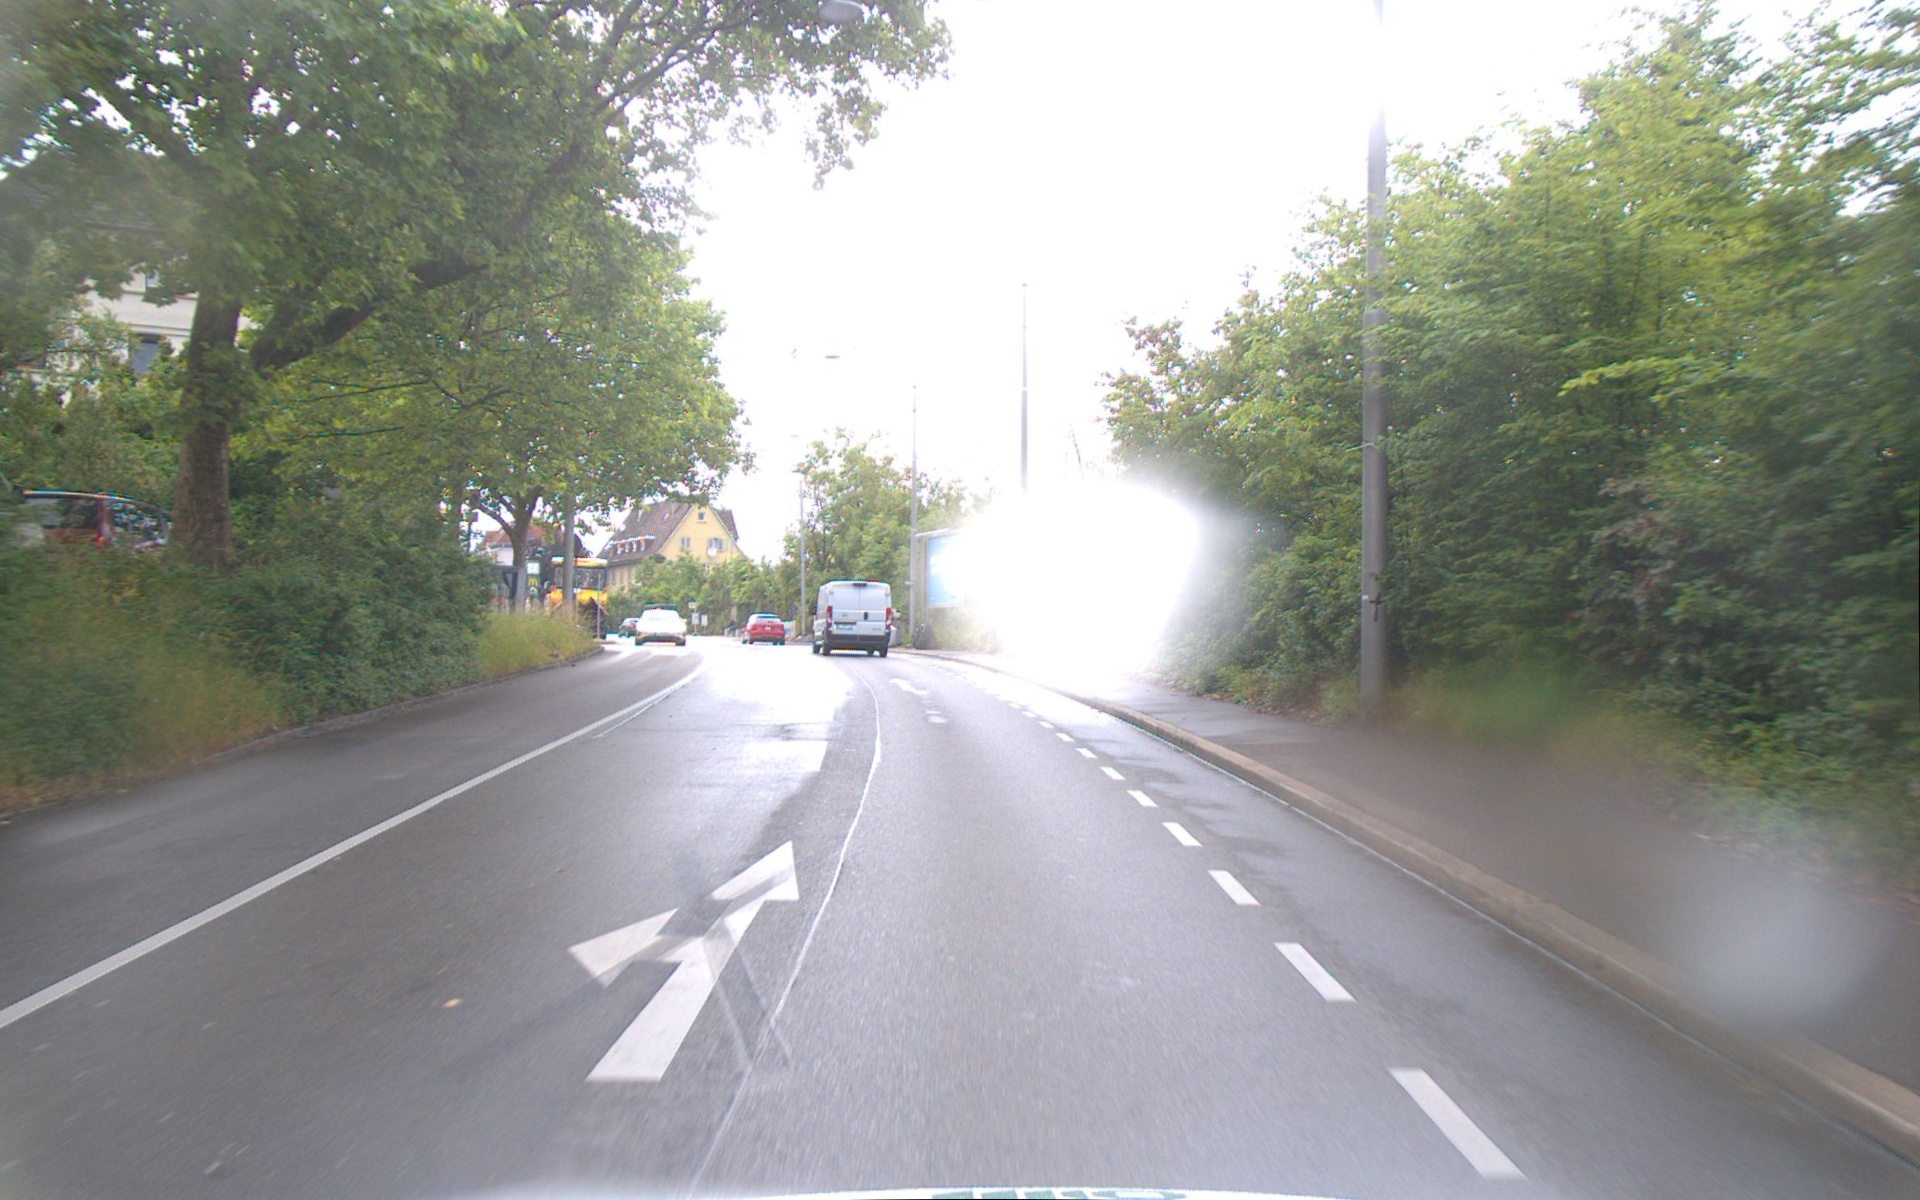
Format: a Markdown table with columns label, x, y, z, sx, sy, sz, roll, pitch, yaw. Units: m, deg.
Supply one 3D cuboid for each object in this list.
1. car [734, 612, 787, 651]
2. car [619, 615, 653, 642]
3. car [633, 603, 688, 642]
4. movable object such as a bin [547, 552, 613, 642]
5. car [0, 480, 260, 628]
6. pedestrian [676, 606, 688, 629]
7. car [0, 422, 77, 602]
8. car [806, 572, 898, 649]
| label | x | y | z | sx | sy | sz | roll | pitch | yaw |
| --- | --- | --- | --- | --- | --- | --- | --- | --- | --- |
| car | -9.662 | 1.487 | 79.868 | 2.197 | 1.685 | 4.702 | 2 | 1 | -10 |
| car | -23.892 | 2.084 | 121.914 | 2.199 | 1.836 | 4.697 | 2 | 1 | -14 |
| car | -11.868 | 0.865 | 65.561 | 2.034 | 1.376 | 4.701 | 2 | 1 | -11 |
| movable object such as a bin | -17.547 | -0.185 | 76.647 | 2.726 | 3.923 | 5.970 | 2 | 0 | -12 |
| car | -11.988 | -0.625 | 23.838 | 1.793 | 1.875 | 4.627 | 2 | 0 | 0 |
| pedestrian | -22.262 | 1.396 | 132.448 | 0.890 | 1.761 | 0.651 | 2 | 0 | -14 |
| car | -11.915 | -1.030 | 18.122 | 1.953 | 2.049 | 4.627 | 2 | 0 | 0 |
| car | -3.458 | 0.288 | 52.110 | 2.198 | 2.252 | 4.700 | 2 | 0 | -12 |
